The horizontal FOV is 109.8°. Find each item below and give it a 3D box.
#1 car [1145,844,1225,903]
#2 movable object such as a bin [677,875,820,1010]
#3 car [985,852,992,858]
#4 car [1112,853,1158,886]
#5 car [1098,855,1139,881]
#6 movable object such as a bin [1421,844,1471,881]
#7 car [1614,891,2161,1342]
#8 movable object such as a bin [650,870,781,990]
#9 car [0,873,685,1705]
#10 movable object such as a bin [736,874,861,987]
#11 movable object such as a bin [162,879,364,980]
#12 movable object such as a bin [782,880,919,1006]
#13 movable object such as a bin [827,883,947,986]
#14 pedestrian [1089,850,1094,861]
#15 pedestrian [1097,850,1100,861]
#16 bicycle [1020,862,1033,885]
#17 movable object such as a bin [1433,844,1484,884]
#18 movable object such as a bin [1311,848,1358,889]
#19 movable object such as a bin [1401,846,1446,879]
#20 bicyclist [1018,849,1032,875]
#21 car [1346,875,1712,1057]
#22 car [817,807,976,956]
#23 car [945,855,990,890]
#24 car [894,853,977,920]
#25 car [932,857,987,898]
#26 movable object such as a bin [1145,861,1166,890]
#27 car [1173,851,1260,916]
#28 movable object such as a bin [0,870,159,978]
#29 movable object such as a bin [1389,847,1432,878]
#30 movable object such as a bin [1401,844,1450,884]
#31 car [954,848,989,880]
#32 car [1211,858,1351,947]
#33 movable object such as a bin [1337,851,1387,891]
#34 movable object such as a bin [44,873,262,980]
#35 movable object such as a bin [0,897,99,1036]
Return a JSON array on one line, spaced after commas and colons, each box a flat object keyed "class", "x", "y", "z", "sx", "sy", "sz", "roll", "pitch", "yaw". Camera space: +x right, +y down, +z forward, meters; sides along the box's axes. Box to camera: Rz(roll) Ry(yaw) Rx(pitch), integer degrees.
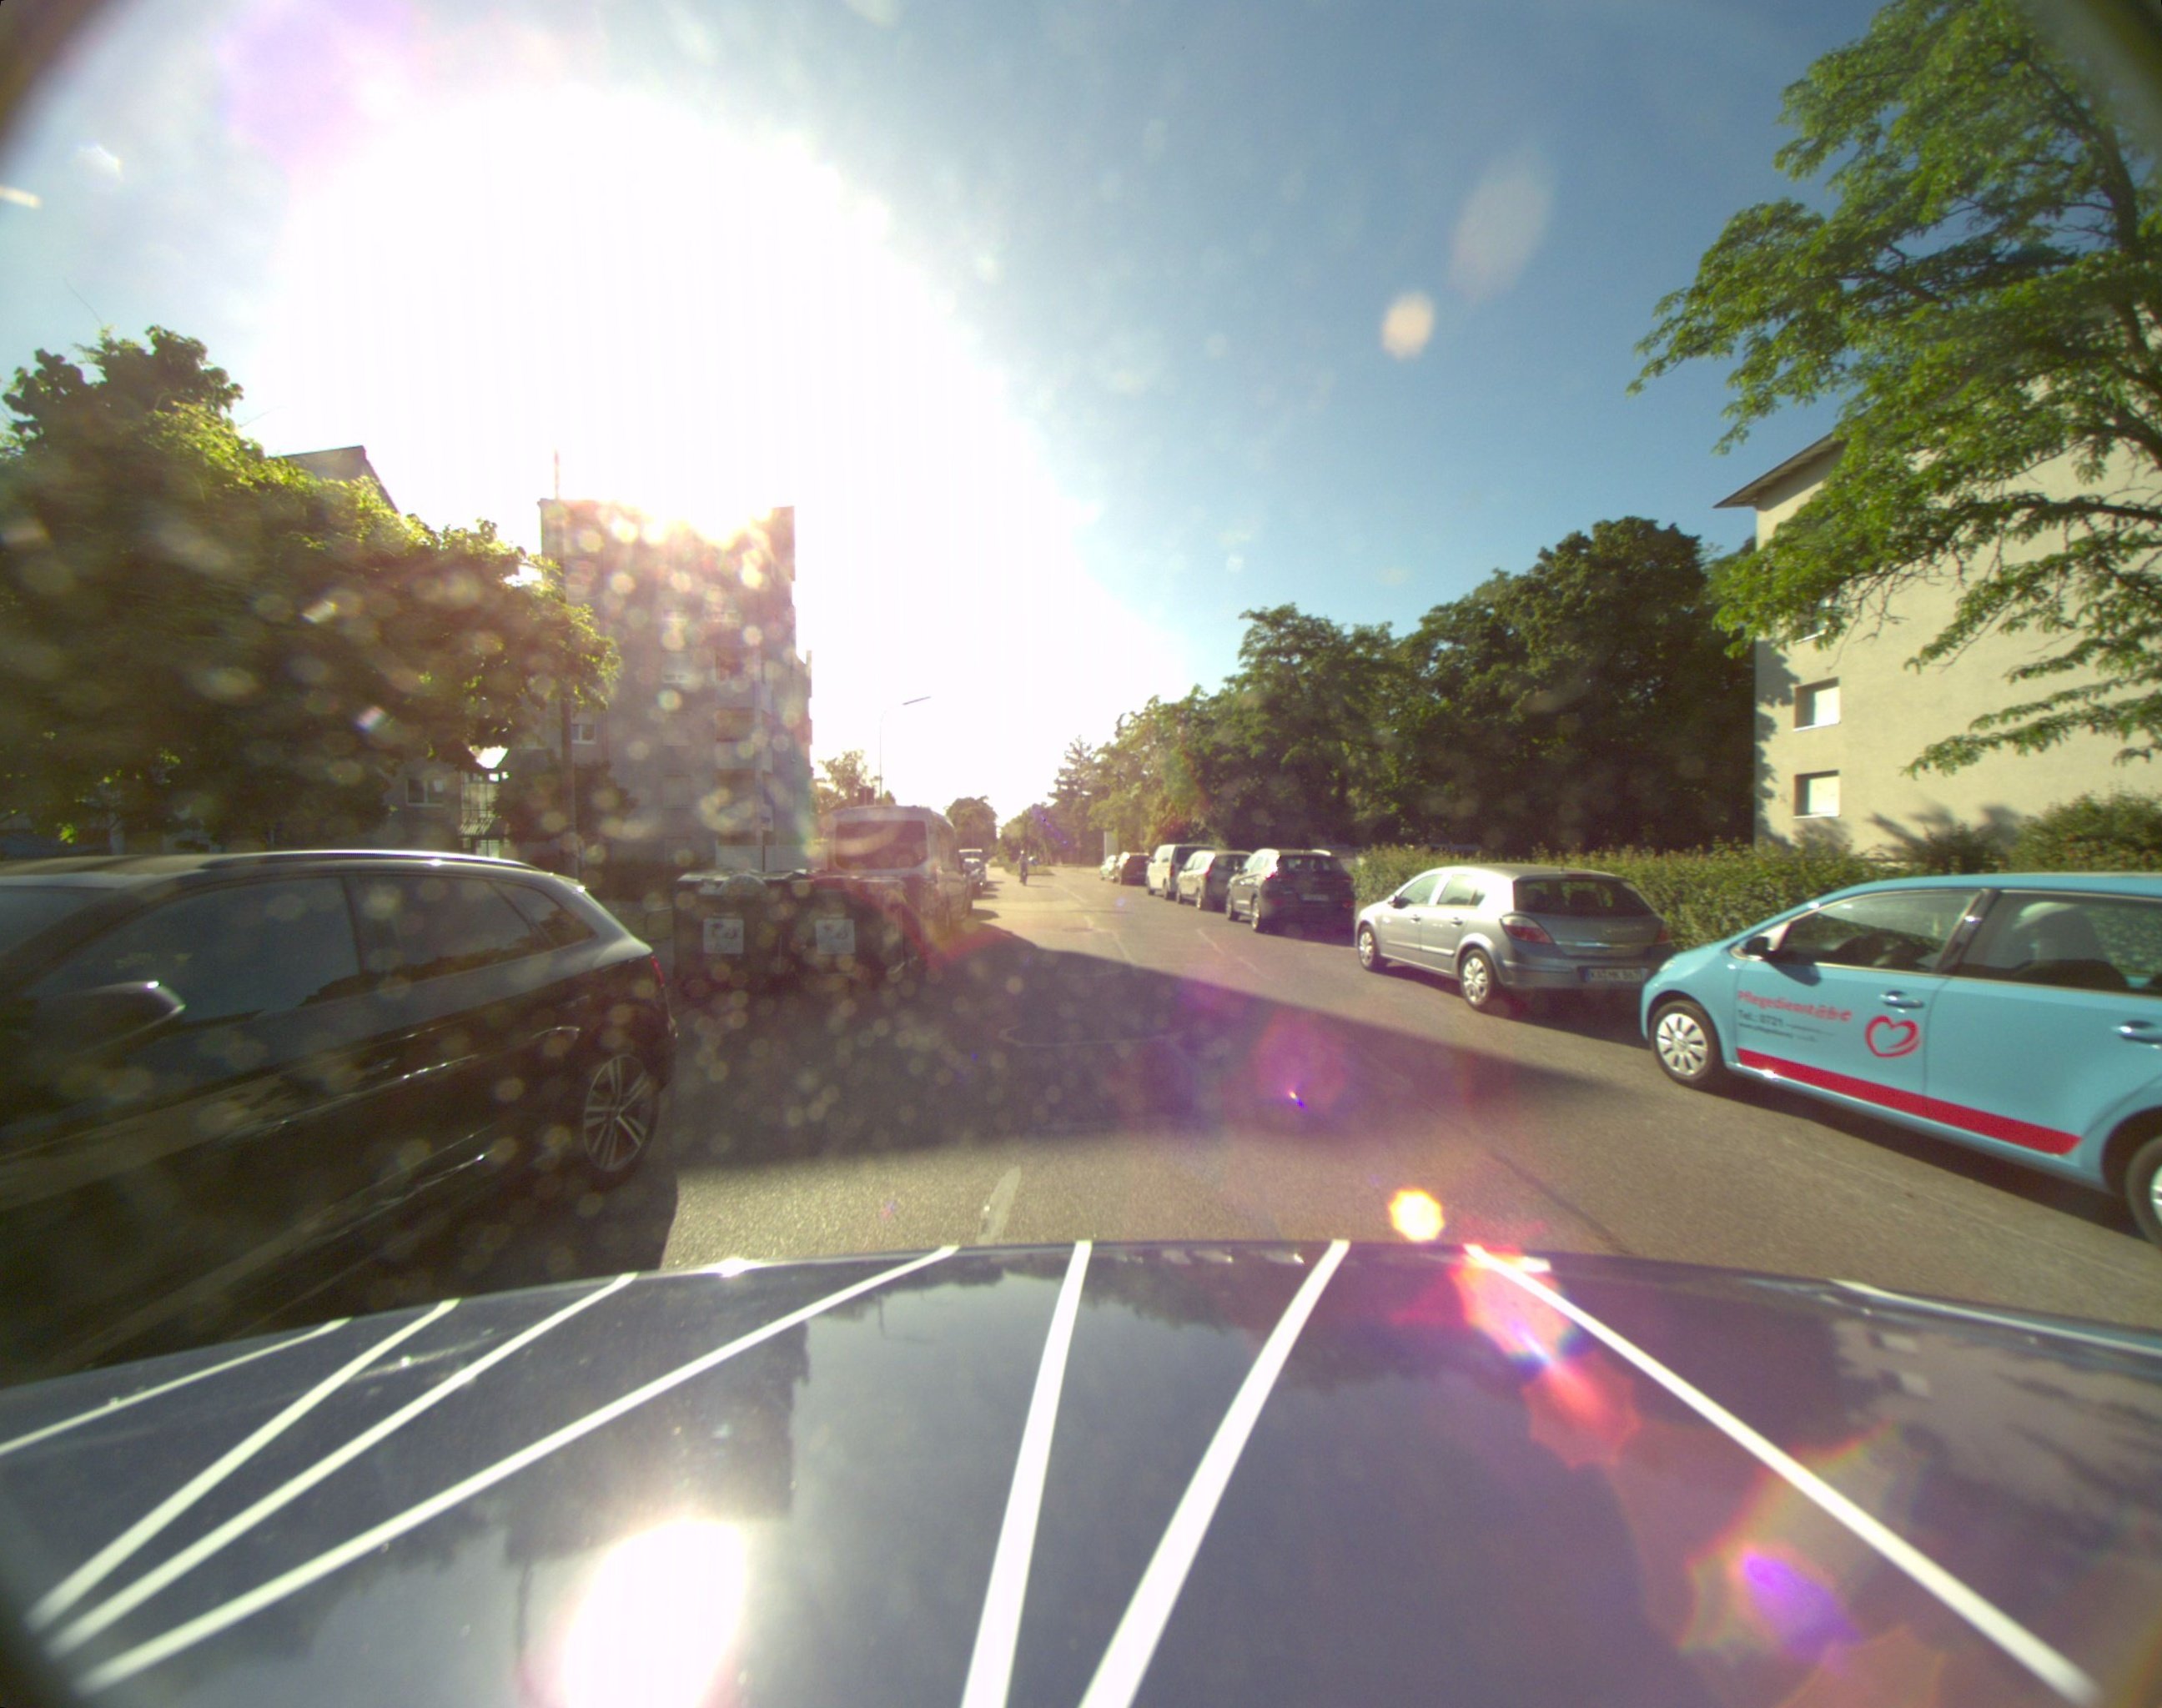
[{"class": "car", "x": 3.630, "y": 0.646, "z": 27.387, "sx": 1.869, "sy": 1.949, "sz": 4.668, "roll": 0, "pitch": 0, "yaw": -5}, {"class": "movable object such as a bin", "x": -3.978, "y": 1.029, "z": 9.225, "sx": 1.094, "sy": 1.440, "sz": 1.170, "roll": -2, "pitch": 2, "yaw": 5}, {"class": "car", "x": -27.767, "y": 0.340, "z": 227.993, "sx": 2.000, "sy": 1.805, "sz": 3.997, "roll": -1, "pitch": 1, "yaw": -7}, {"class": "car", "x": 2.785, "y": 0.787, "z": 40.111, "sx": 1.680, "sy": 1.629, "sz": 4.248, "roll": 1, "pitch": 0, "yaw": -6}, {"class": "car", "x": 2.206, "y": 0.800, "z": 45.625, "sx": 1.632, "sy": 1.518, "sz": 3.415, "roll": 0, "pitch": 0, "yaw": -12}, {"class": "movable object such as a bin", "x": 14.707, "y": 0.331, "z": 30.693, "sx": 1.279, "sy": 1.480, "sz": 1.509, "roll": 0, "pitch": 1, "yaw": -2}, {"class": "car", "x": 4.748, "y": 1.028, "z": 3.724, "sx": 1.674, "sy": 1.465, "sz": 3.678, "roll": 1, "pitch": 1, "yaw": 0}, {"class": "movable object such as a bin", "x": -4.978, "y": 0.994, "z": 10.475, "sx": 1.043, "sy": 1.440, "sz": 1.419, "roll": 1, "pitch": 2, "yaw": 4}, {"class": "car", "x": -3.169, "y": 0.964, "z": 2.048, "sx": 1.814, "sy": 1.654, "sz": 4.462, "roll": -2, "pitch": 0, "yaw": 0}, {"class": "movable object such as a bin", "x": -3.866, "y": 1.016, "z": 10.543, "sx": 1.110, "sy": 1.411, "sz": 1.360, "roll": -2, "pitch": 0, "yaw": 4}, {"class": "movable object such as a bin", "x": -11.772, "y": 1.046, "z": 11.014, "sx": 1.416, "sy": 1.298, "sz": 1.382, "roll": 0, "pitch": 1, "yaw": 2}, {"class": "movable object such as a bin", "x": -2.780, "y": 1.041, "z": 9.325, "sx": 1.230, "sy": 1.389, "sz": 1.170, "roll": 0, "pitch": 1, "yaw": 6}, {"class": "movable object such as a bin", "x": -2.637, "y": 1.069, "z": 10.488, "sx": 1.271, "sy": 1.306, "sz": 1.123, "roll": 1, "pitch": -1, "yaw": 6}, {"class": "pedestrian", "x": 1.534, "y": 0.223, "z": 107.923, "sx": 0.539, "sy": 1.512, "sz": 0.395, "roll": -1, "pitch": 1, "yaw": -32}, {"class": "pedestrian", "x": 2.483, "y": 0.213, "z": 107.693, "sx": 0.396, "sy": 1.552, "sz": 0.538, "roll": 0, "pitch": 2, "yaw": -5}, {"class": "bicycle", "x": -2.805, "y": 0.965, "z": 38.776, "sx": 0.458, "sy": 1.138, "sz": 1.896, "roll": 0, "pitch": 0, "yaw": -10}, {"class": "movable object such as a bin", "x": 14.485, "y": 0.358, "z": 29.180, "sx": 1.262, "sy": 1.480, "sz": 1.279, "roll": 0, "pitch": 1, "yaw": -4}, {"class": "movable object such as a bin", "x": 9.854, "y": 0.535, "z": 29.535, "sx": 1.262, "sy": 1.542, "sz": 1.278, "roll": -1, "pitch": 1, "yaw": -11}, {"class": "movable object such as a bin", "x": 14.566, "y": 0.347, "z": 32.349, "sx": 1.279, "sy": 1.401, "sz": 1.509, "roll": 0, "pitch": 1, "yaw": 1}, {"class": "bicyclist", "x": -2.865, "y": 0.393, "z": 38.937, "sx": 0.638, "sy": 1.339, "sz": 0.837, "roll": -1, "pitch": 1, "yaw": -10}, {"class": "car", "x": 4.582, "y": 1.035, "z": 8.587, "sx": 1.675, "sy": 1.428, "sz": 3.999, "roll": 1, "pitch": 1, "yaw": -2}, {"class": "car", "x": -3.555, "y": 0.447, "z": 15.940, "sx": 2.110, "sy": 2.472, "sz": 5.853, "roll": -2, "pitch": 1, "yaw": -3}, {"class": "car", "x": -5.329, "y": 0.832, "z": 36.152, "sx": 1.915, "sy": 1.480, "sz": 4.372, "roll": 0, "pitch": 1, "yaw": -6}, {"class": "car", "x": -3.962, "y": 0.807, "z": 21.385, "sx": 1.915, "sy": 1.657, "sz": 4.372, "roll": 0, "pitch": 1, "yaw": -6}, {"class": "car", "x": -4.800, "y": 0.879, "z": 30.445, "sx": 1.915, "sy": 1.480, "sz": 4.372, "roll": 0, "pitch": 1, "yaw": -6}, {"class": "movable object such as a bin", "x": 3.389, "y": 0.957, "z": 34.670, "sx": 0.805, "sy": 1.308, "sz": 1.321, "roll": 0, "pitch": 0, "yaw": 0}, {"class": "car", "x": 3.882, "y": 0.781, "z": 22.387, "sx": 1.560, "sy": 1.712, "sz": 4.339, "roll": 0, "pitch": 0, "yaw": -3}, {"class": "movable object such as a bin", "x": -14.694, "y": 0.950, "z": 10.832, "sx": 1.430, "sy": 1.366, "sz": 1.382, "roll": 1, "pitch": 1, "yaw": 2}, {"class": "movable object such as a bin", "x": 14.699, "y": 0.353, "z": 33.962, "sx": 1.279, "sy": 1.347, "sz": 1.509, "roll": 0, "pitch": 1, "yaw": 1}, {"class": "movable object such as a bin", "x": 13.163, "y": 0.363, "z": 29.047, "sx": 1.262, "sy": 1.480, "sz": 1.279, "roll": 0, "pitch": 1, "yaw": -4}, {"class": "car", "x": -6.801, "y": 0.574, "z": 47.299, "sx": 2.000, "sy": 1.901, "sz": 4.949, "roll": -1, "pitch": 1, "yaw": -8}, {"class": "car", "x": 4.049, "y": 0.895, "z": 16.128, "sx": 1.753, "sy": 1.608, "sz": 4.362, "roll": 0, "pitch": 0, "yaw": -1}, {"class": "movable object such as a bin", "x": 10.217, "y": 0.592, "z": 27.702, "sx": 1.280, "sy": 1.393, "sz": 1.261, "roll": -1, "pitch": 1, "yaw": -7}, {"class": "movable object such as a bin", "x": -13.222, "y": 0.991, "z": 10.907, "sx": 1.430, "sy": 1.366, "sz": 1.382, "roll": 1, "pitch": 1, "yaw": 2}, {"class": "movable object such as a bin", "x": -11.136, "y": 1.107, "z": 7.370, "sx": 1.416, "sy": 1.298, "sz": 1.382, "roll": 0, "pitch": 1, "yaw": 2}]
